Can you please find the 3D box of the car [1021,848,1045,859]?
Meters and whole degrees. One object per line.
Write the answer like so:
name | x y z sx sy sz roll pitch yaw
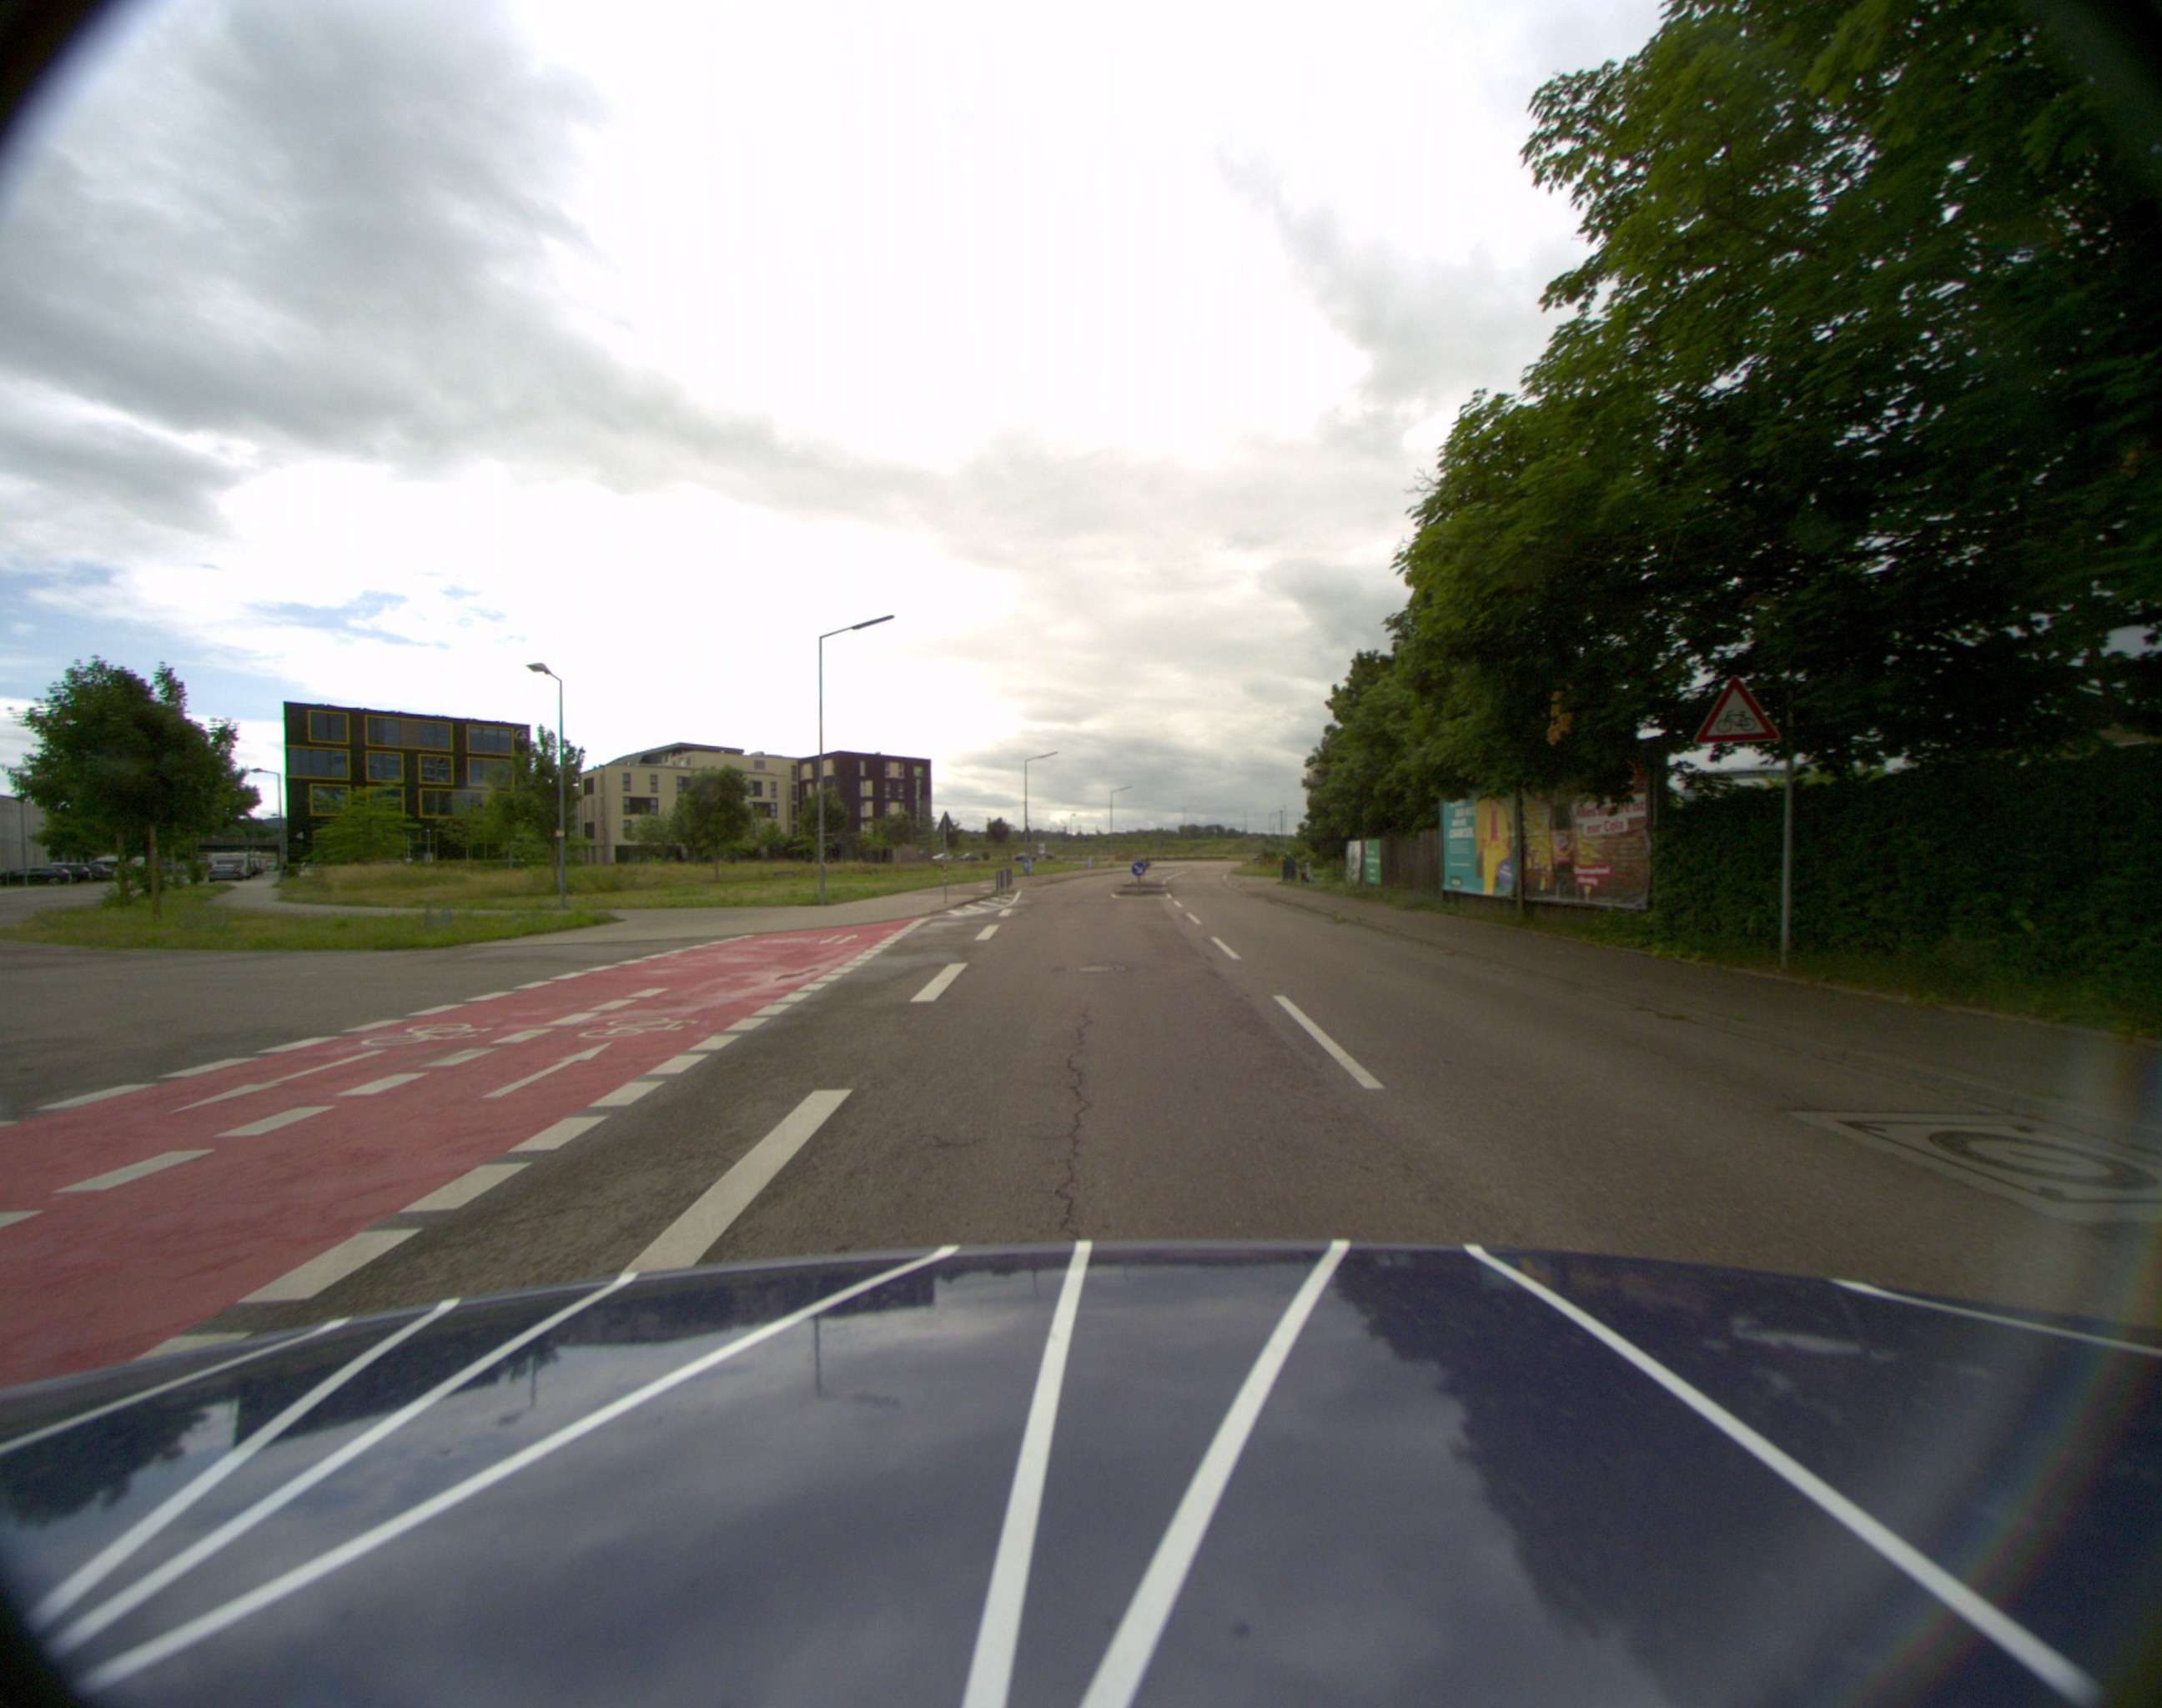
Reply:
car | -8.602 -0.113 135.439 1.994 2.002 4.008 0 1 43

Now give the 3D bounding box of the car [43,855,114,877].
car | -95.930 1.093 72.792 1.994 2.002 4.008 0 1 39

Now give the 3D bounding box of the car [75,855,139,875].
car | -103.702 1.112 80.955 1.994 2.002 4.008 0 1 42

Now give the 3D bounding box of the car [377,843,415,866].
car | -59.645 0.044 66.146 3.988 2.002 2.004 0 1 41

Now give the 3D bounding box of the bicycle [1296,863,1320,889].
bicycle | 9.598 0.918 32.095 0.582 0.993 1.773 -3 0 29

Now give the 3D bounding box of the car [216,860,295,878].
car | -64.317 1.126 59.280 4.008 1.324 1.559 0 1 -41

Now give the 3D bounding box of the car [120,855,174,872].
car | -113.148 1.170 92.150 1.994 2.002 4.008 0 1 42

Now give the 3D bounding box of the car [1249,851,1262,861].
car | 24.336 0.257 106.038 1.741 1.444 4.004 0 0 12

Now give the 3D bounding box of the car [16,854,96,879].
car | -88.826 1.064 65.949 1.994 2.002 4.008 0 1 39

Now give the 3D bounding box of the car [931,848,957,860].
car | -24.130 -0.033 133.815 1.994 2.002 4.008 0 1 43

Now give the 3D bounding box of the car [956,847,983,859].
car | -18.867 -0.108 128.569 1.994 2.002 4.008 0 1 43

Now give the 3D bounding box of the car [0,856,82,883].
car | -83.494 1.221 60.904 1.994 2.002 4.008 0 1 39
